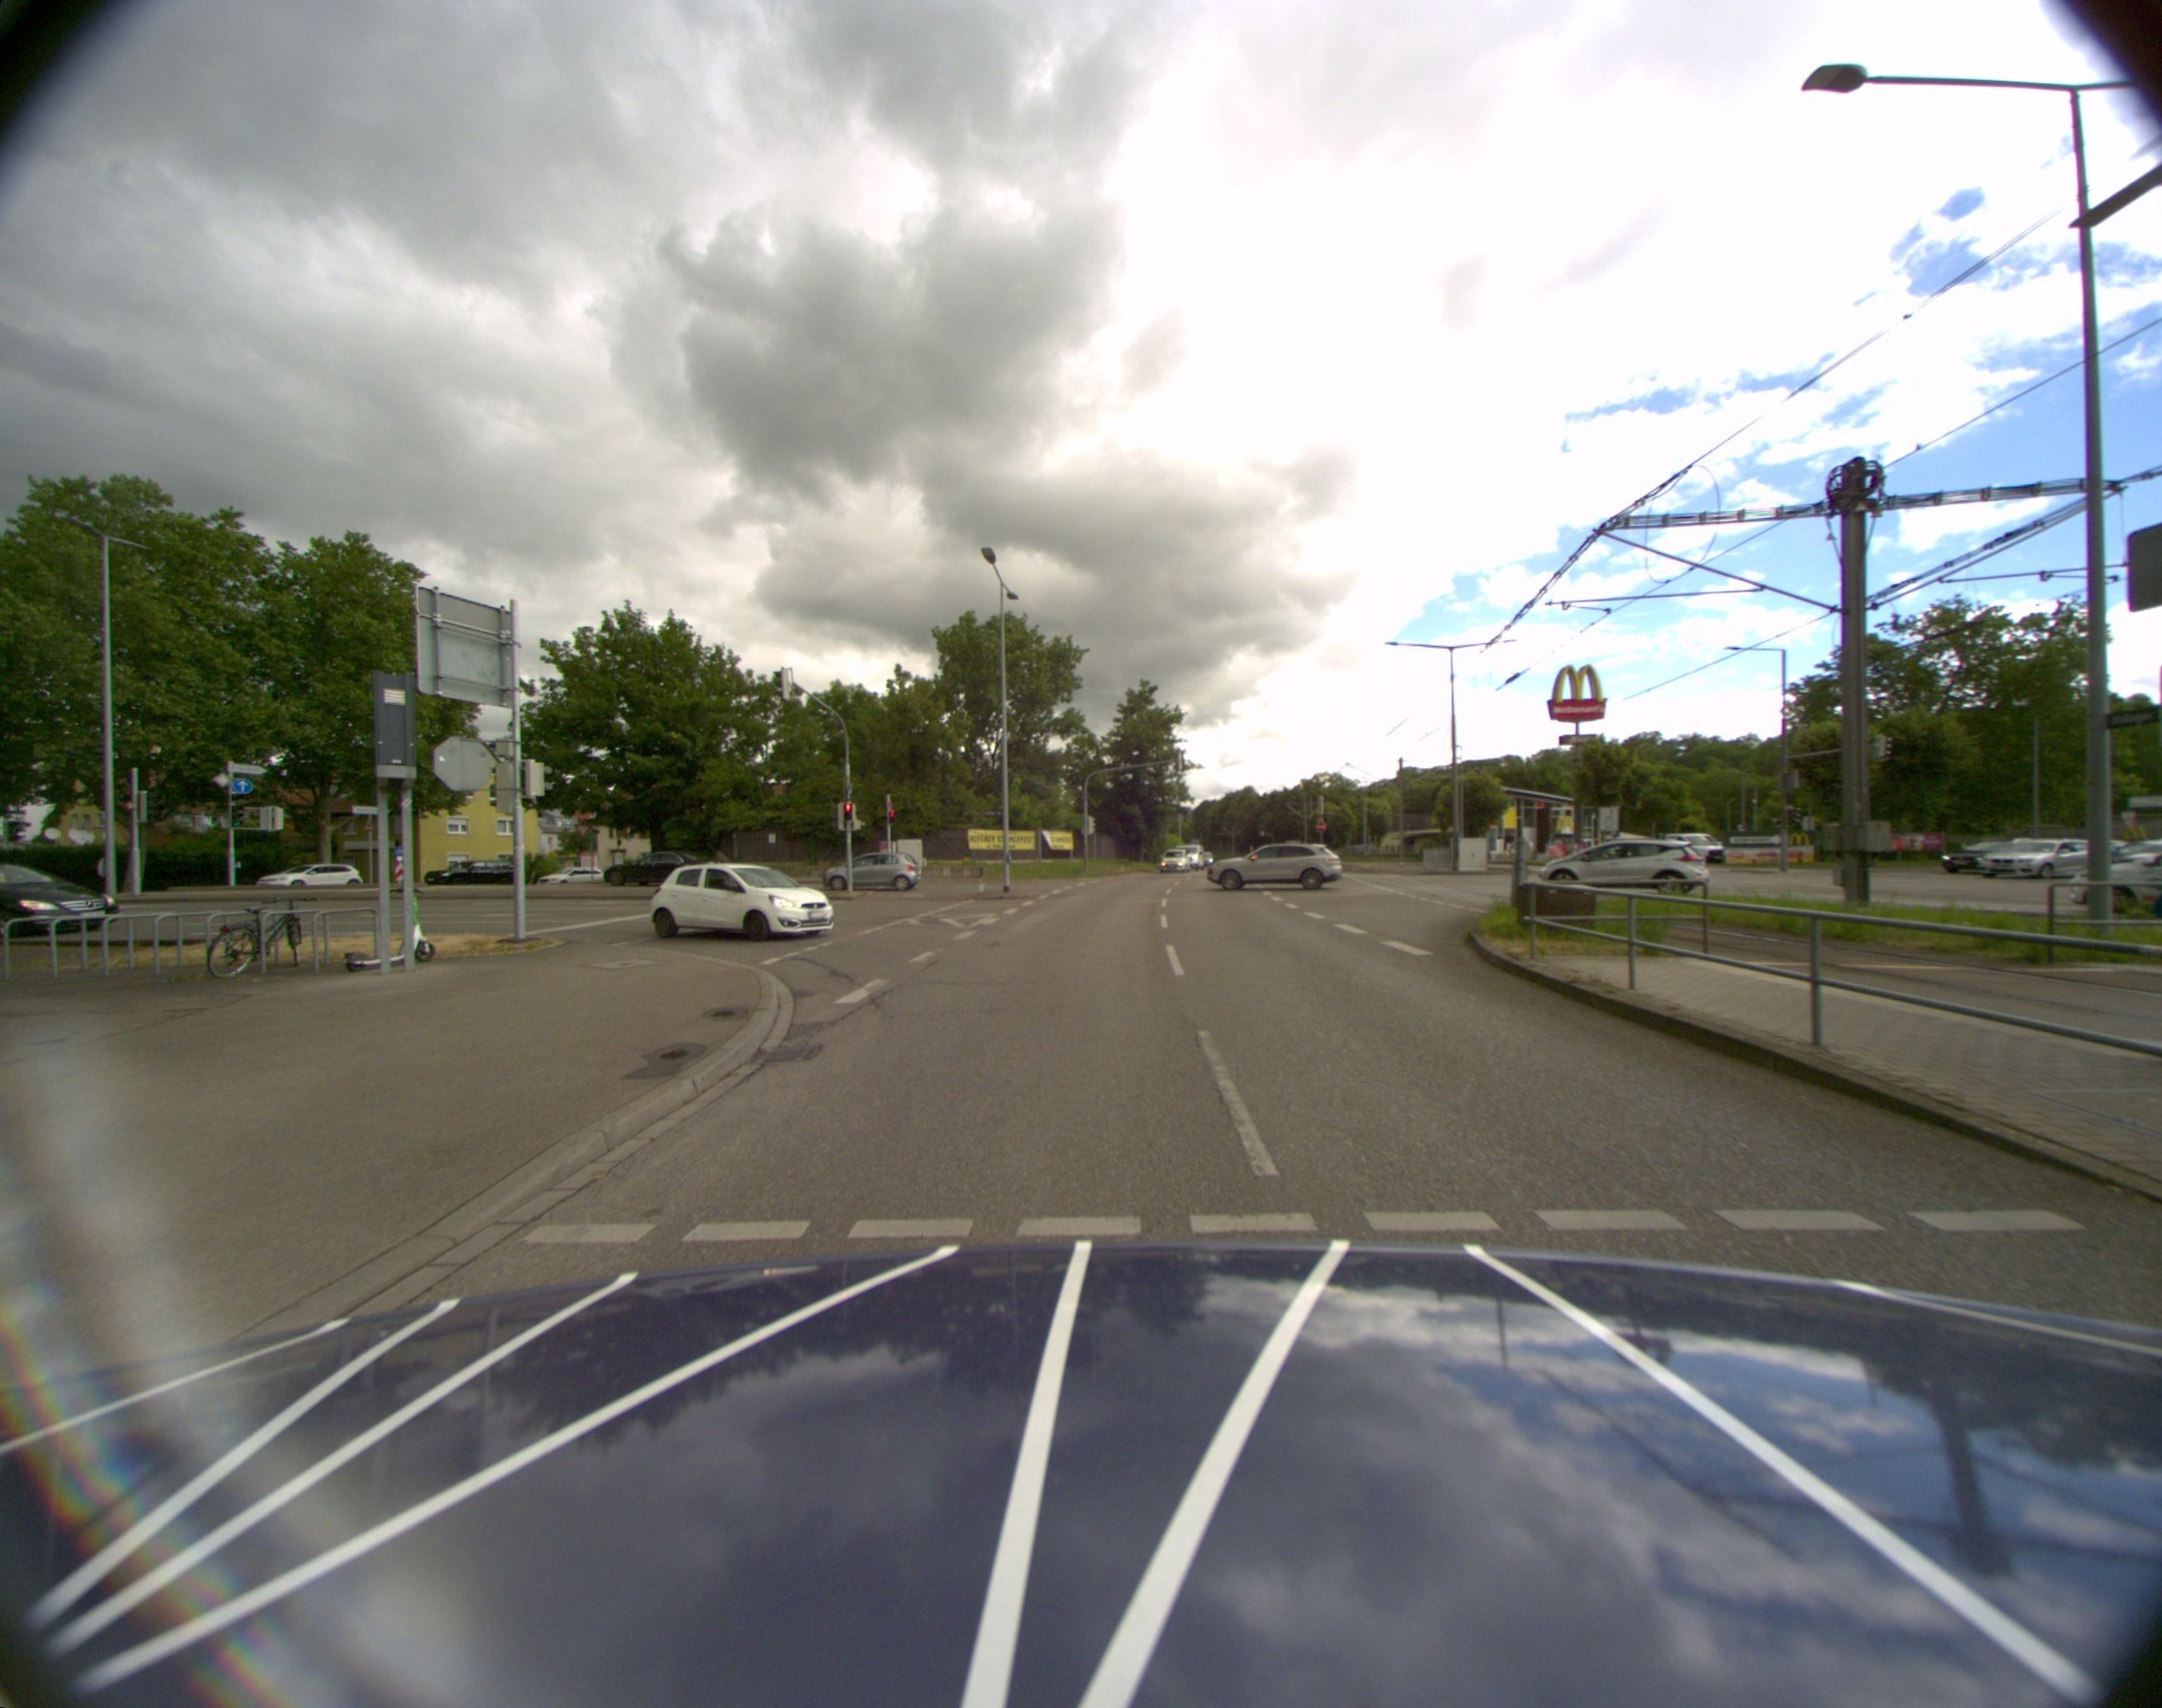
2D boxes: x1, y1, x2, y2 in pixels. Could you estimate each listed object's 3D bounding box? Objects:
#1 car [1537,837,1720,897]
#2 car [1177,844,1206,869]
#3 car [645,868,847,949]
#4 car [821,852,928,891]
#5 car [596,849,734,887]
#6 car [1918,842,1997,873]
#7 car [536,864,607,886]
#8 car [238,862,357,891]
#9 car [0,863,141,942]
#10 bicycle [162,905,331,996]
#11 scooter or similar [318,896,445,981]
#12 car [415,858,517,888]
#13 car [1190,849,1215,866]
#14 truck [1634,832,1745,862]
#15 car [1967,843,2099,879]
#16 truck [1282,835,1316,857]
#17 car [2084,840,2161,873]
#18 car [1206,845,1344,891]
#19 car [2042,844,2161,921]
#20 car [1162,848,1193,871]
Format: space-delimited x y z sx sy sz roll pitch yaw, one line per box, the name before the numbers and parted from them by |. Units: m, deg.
car | 16.150 0.344 22.576 1.754 1.631 4.112 -1 1 -41
car | 8.350 0.136 57.289 1.807 1.814 4.004 -1 1 13
car | -6.739 1.027 15.310 3.596 1.439 1.677 -1 1 22
car | -8.125 0.669 30.124 3.787 1.479 1.676 0 1 -3
car | -17.678 0.581 32.403 4.988 1.442 1.832 1 2 7
car | 42.601 0.165 36.936 3.647 1.424 1.792 -1 1 -29
car | -35.655 1.453 53.264 1.659 1.390 3.884 1 1 20
car | -39.533 1.124 38.479 1.809 1.313 3.806 -1 0 9
car | -23.412 1.022 16.131 4.187 1.523 1.719 -1 3 -9
bicycle | -11.702 1.315 10.748 0.608 1.039 1.700 -1 1 -6
scooter or similar | -10.202 1.208 11.143 0.654 1.105 1.231 -1 1 4
car | -37.597 1.135 46.619 1.808 1.642 4.597 -1 0 16
car | 11.454 0.303 71.349 1.996 1.527 4.004 1 1 13
truck | 41.006 -0.508 51.506 2.599 1.894 6.197 0 1 1
car | 41.613 0.273 33.234 4.419 1.424 1.794 -1 1 -12
truck | 37.295 -1.370 130.209 3.435 3.539 8.699 0 1 2
car | 48.148 0.081 34.164 4.283 1.424 1.795 -1 1 -8
car | 7.247 0.518 28.383 4.844 1.633 1.679 -1 1 21
car | 21.224 0.539 14.135 1.633 1.446 3.825 -1 1 -12
car | 6.513 0.342 50.937 1.718 1.410 4.003 1 1 12
